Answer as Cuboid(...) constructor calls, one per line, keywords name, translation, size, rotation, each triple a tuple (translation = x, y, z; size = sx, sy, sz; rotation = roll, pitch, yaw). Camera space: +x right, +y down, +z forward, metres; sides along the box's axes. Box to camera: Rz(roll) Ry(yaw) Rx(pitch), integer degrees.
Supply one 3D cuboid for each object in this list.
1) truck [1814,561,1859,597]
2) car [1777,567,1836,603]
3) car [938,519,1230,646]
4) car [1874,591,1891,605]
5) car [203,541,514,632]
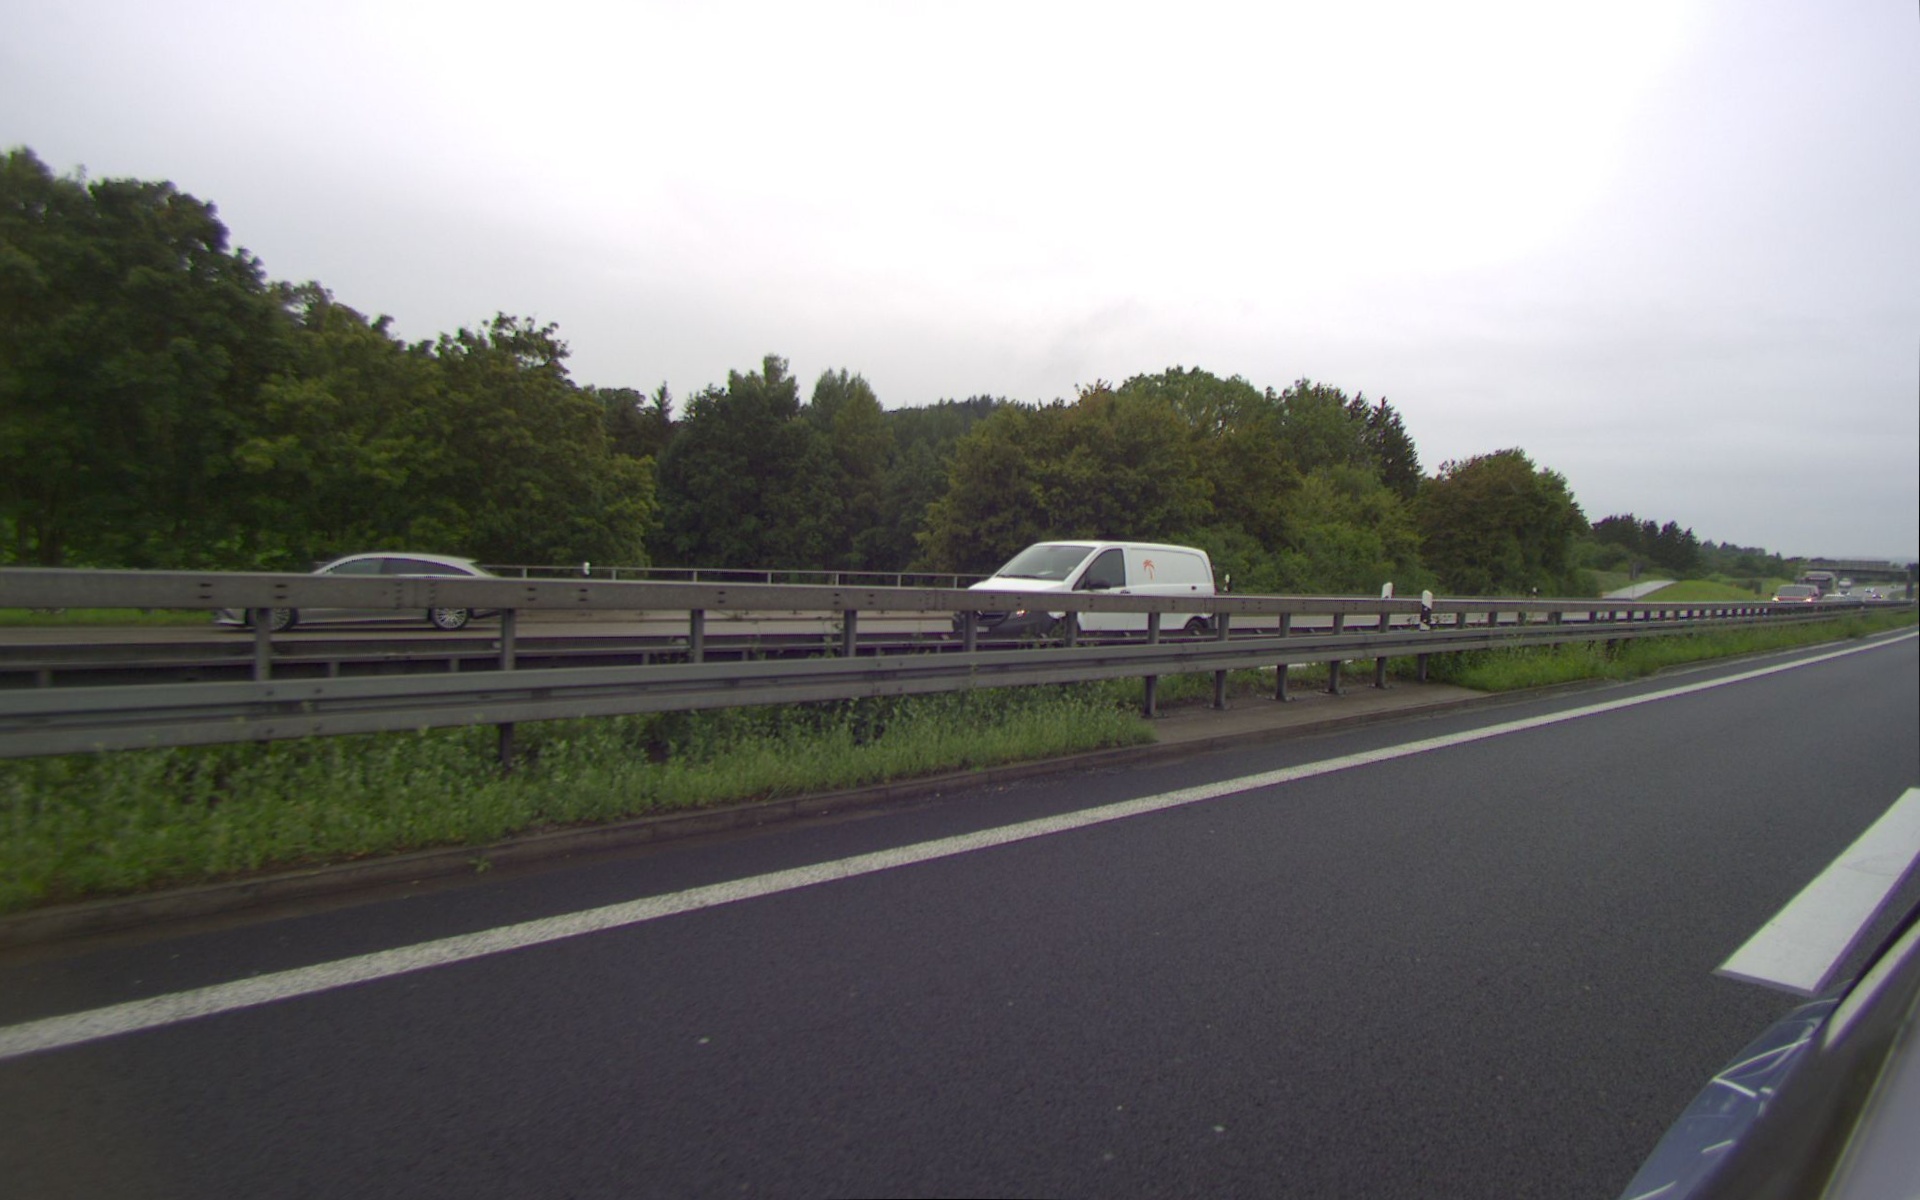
Cuboid(name="truck", translation=(98.902, -2.334, 114.085), size=(9.860, 3.949, 2.795), rotation=(-1, 2, -43))
Cuboid(name="car", translation=(50.849, -0.904, 60.767), size=(4.993, 2.038, 2.127), rotation=(-1, 2, -44))
Cuboid(name="car", translation=(2.048, -0.279, 15.879), size=(4.635, 1.714, 1.913), rotation=(0, 2, -40))
Cuboid(name="car", translation=(136.591, -0.301, 149.791), size=(1.746, 2.038, 4.431), rotation=(2, 2, 42))
Cuboid(name="car", translation=(-10.667, -0.253, 18.307), size=(4.615, 1.473, 1.908), rotation=(0, 2, -29))
